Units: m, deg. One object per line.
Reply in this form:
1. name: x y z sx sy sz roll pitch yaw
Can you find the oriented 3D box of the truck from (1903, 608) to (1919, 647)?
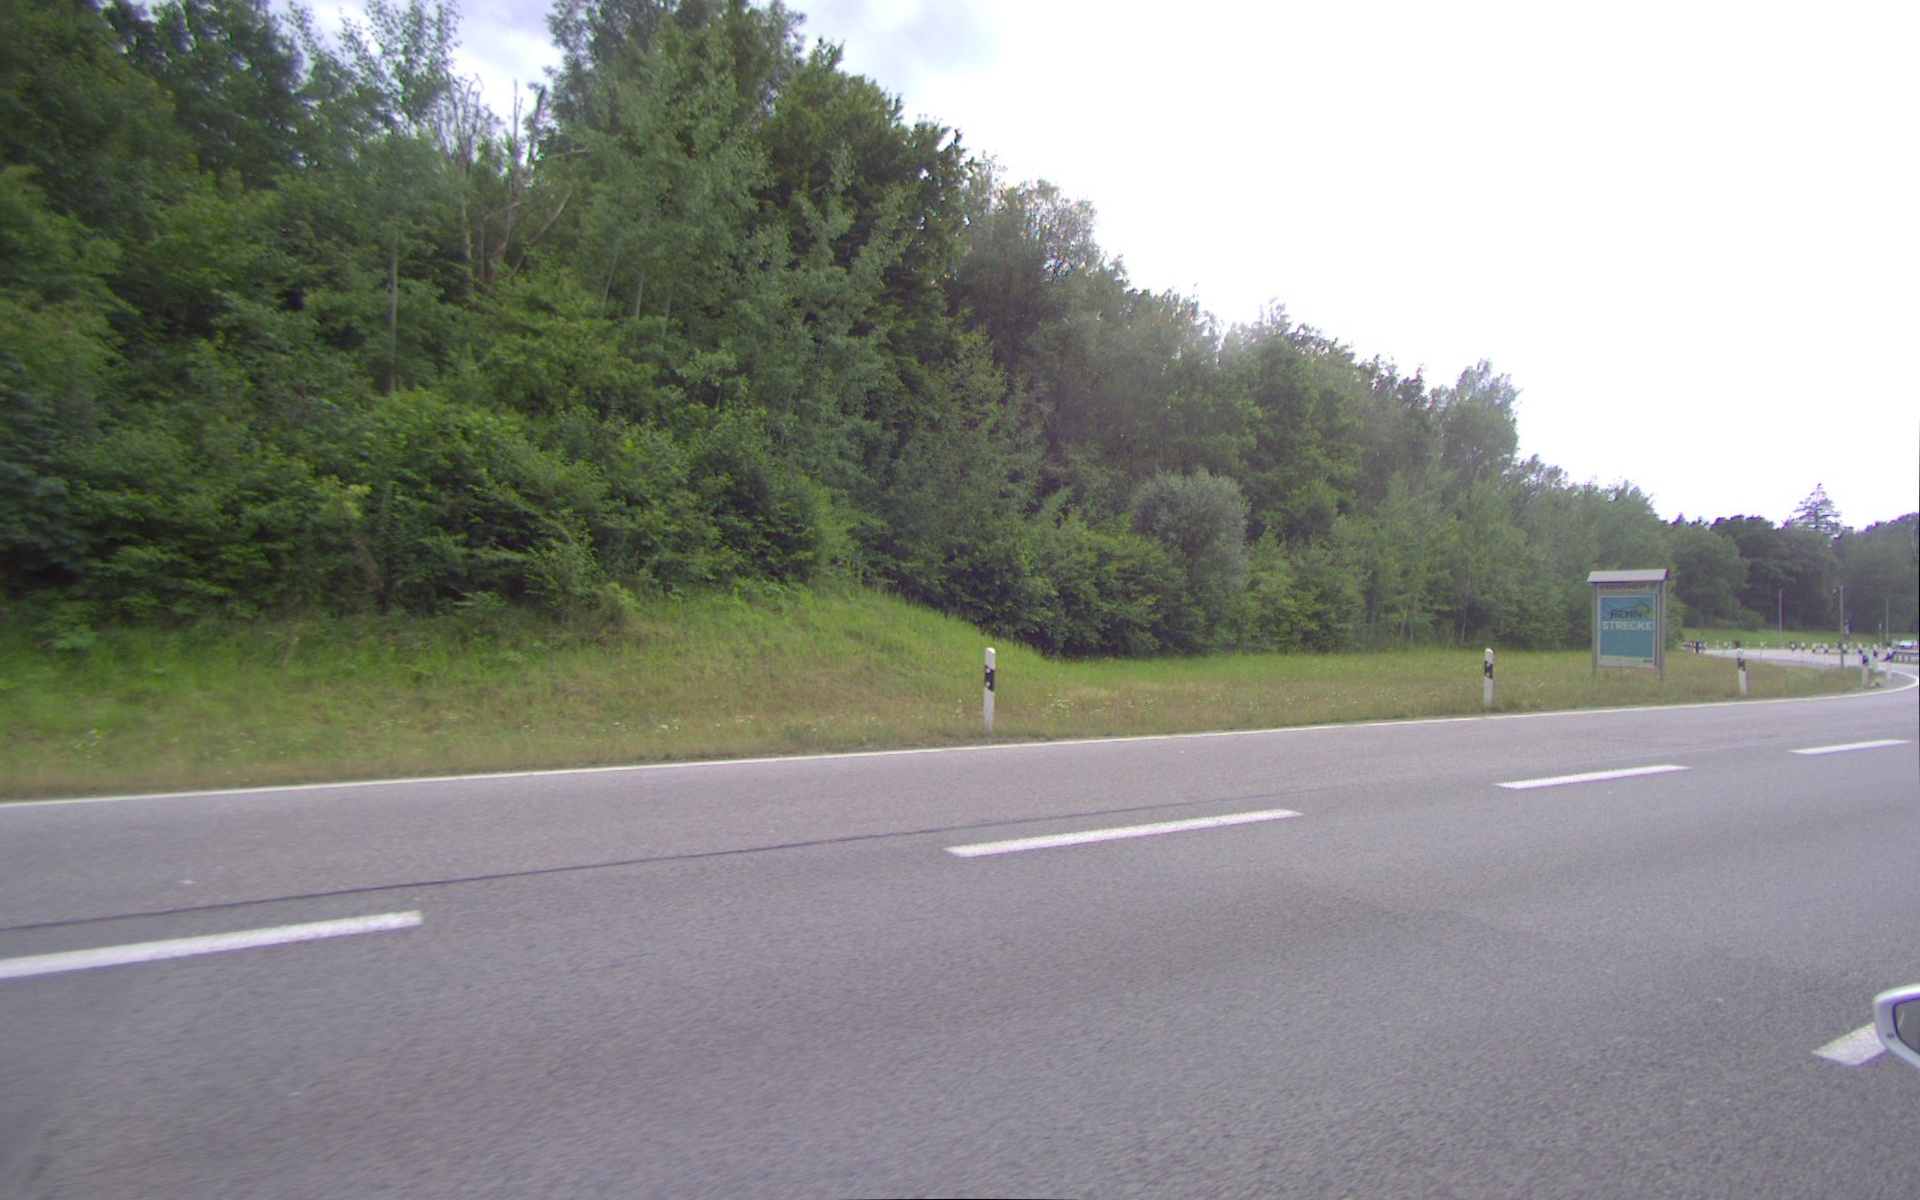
1. truck: 78.989 2.299 81.255 7.142 3.052 1.984 2 0 -30
